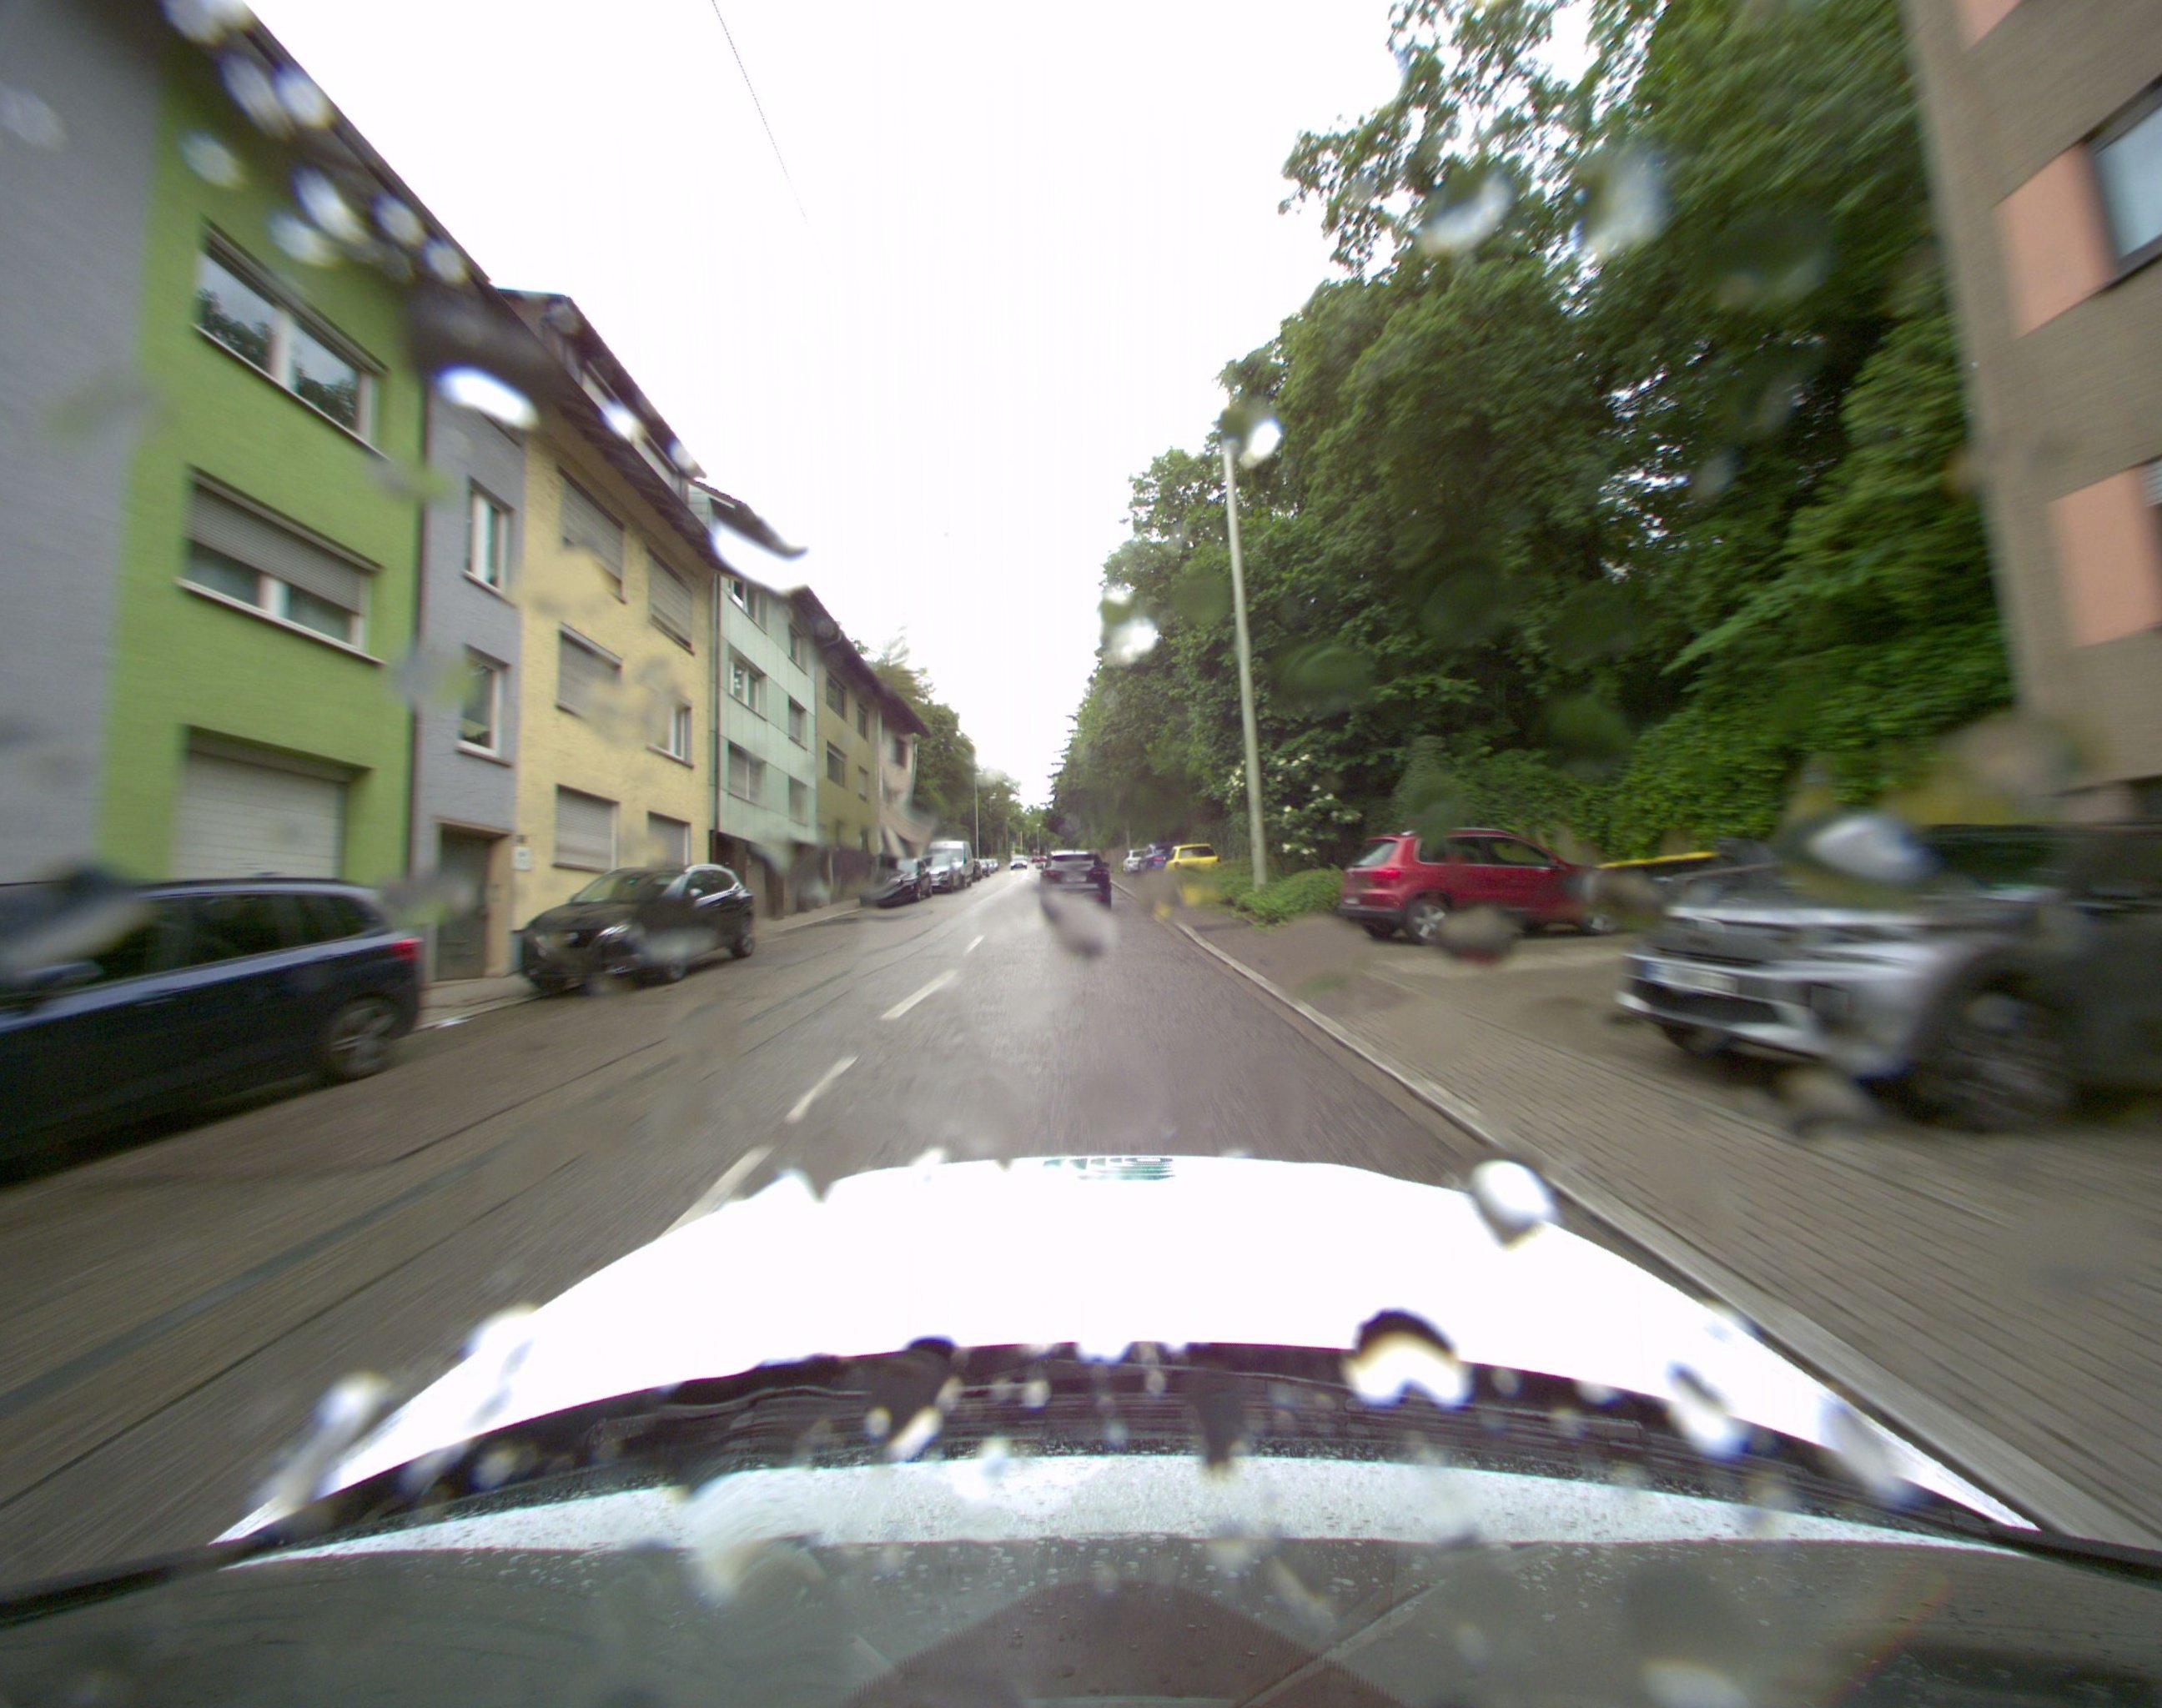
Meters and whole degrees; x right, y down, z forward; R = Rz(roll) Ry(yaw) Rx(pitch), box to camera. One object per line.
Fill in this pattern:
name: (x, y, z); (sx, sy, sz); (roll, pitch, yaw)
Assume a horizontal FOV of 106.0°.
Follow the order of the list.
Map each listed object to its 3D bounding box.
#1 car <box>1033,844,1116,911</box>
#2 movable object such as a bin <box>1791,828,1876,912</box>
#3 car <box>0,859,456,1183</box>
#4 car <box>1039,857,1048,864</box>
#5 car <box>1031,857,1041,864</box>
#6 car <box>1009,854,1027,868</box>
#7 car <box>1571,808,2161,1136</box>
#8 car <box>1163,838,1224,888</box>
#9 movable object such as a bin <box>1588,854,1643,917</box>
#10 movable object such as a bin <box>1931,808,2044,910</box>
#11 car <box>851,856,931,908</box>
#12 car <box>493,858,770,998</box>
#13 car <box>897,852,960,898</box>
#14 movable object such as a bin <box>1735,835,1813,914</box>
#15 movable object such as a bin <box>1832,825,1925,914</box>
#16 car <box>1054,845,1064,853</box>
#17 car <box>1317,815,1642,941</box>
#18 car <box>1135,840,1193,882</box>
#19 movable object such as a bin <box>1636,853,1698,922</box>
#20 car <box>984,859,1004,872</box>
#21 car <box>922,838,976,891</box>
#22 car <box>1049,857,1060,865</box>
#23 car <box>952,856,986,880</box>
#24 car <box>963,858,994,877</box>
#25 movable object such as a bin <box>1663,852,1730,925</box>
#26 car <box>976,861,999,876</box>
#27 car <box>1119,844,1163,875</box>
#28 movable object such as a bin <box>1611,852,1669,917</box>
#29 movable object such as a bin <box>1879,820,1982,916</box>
car: (-0.182, 0.547, 21.867); (1.988, 1.559, 3.998); (-2, 1, -1)
movable object such as a bin: (9.890, 0.215, 10.720); (0.506, 1.061, 0.603); (-2, -2, -2)
car: (-6.476, 0.907, 4.904); (1.989, 1.585, 4.468); (-3, 0, -2)
car: (-9.337, 1.647, 200.778); (2.069, 1.559, 3.997); (-2, 0, -2)
car: (-10.072, 1.416, 181.573); (2.070, 1.559, 3.996); (-2, 0, -3)
car: (-7.569, 0.796, 97.780); (1.989, 1.559, 3.996); (-2, 1, -3)
car: (5.449, 0.528, 4.763); (4.189, 1.496, 1.758); (0, 0, -4)
car: (3.792, 0.276, 28.030); (1.627, 1.530, 4.001); (-2, 0, 1)
movable object such as a bin: (9.334, 0.542, 14.238); (0.506, 1.061, 0.603); (-2, -2, -2)
movable object such as a bin: (9.889, 0.058, 8.902); (0.506, 1.061, 0.603); (-2, -2, -2)
car: (-6.868, 0.962, 29.968); (1.985, 1.585, 4.301); (-3, 0, -2)
car: (-6.454, 0.939, 12.375); (1.849, 1.585, 4.301); (-3, 0, -2)
car: (-6.676, 0.862, 36.077); (1.985, 1.755, 4.476); (-3, 0, -2)
movable object such as a bin: (9.612, 0.288, 11.316); (0.506, 1.061, 0.603); (-2, -2, -2)
movable object such as a bin: (9.886, 0.195, 10.114); (0.506, 1.061, 0.603); (-2, -2, -2)
car: (-5.084, -1.076, 187.837); (1.987, 1.559, 4.000); (-4, -2, 1)
car: (5.960, 0.324, 12.458); (4.191, 1.734, 1.757); (0, 0, -6)
car: (3.491, 0.271, 34.985); (1.806, 1.530, 4.414); (-5, 0, -2)
movable object such as a bin: (9.349, 0.526, 13.016); (0.506, 1.061, 0.603); (-2, -2, -2)
car: (-10.522, 1.351, 98.393); (1.985, 1.384, 4.454); (-3, 0, -2)
car: (-6.836, 0.483, 42.830); (1.985, 2.474, 5.779); (-3, 0, -2)
car: (-5.687, 1.565, 173.902); (2.071, 1.559, 3.994); (-2, 0, -4)
car: (-8.258, 0.971, 60.241); (1.985, 1.566, 4.454); (-3, 0, -2)
car: (-8.303, 1.059, 66.240); (1.985, 1.384, 4.454); (-3, 0, -2)
movable object such as a bin: (9.352, 0.524, 12.381); (0.506, 1.061, 0.603); (-2, -2, -2)
car: (-9.971, 1.516, 87.321); (1.985, 1.384, 4.454); (-3, 0, -2)
car: (3.308, 0.293, 45.971); (1.807, 1.530, 4.411); (-5, 0, -3)
movable object such as a bin: (9.346, 0.507, 13.629); (0.506, 1.061, 0.603); (-2, -2, -2)
movable object such as a bin: (9.896, 0.166, 9.509); (0.506, 1.061, 0.603); (-2, -2, -2)
